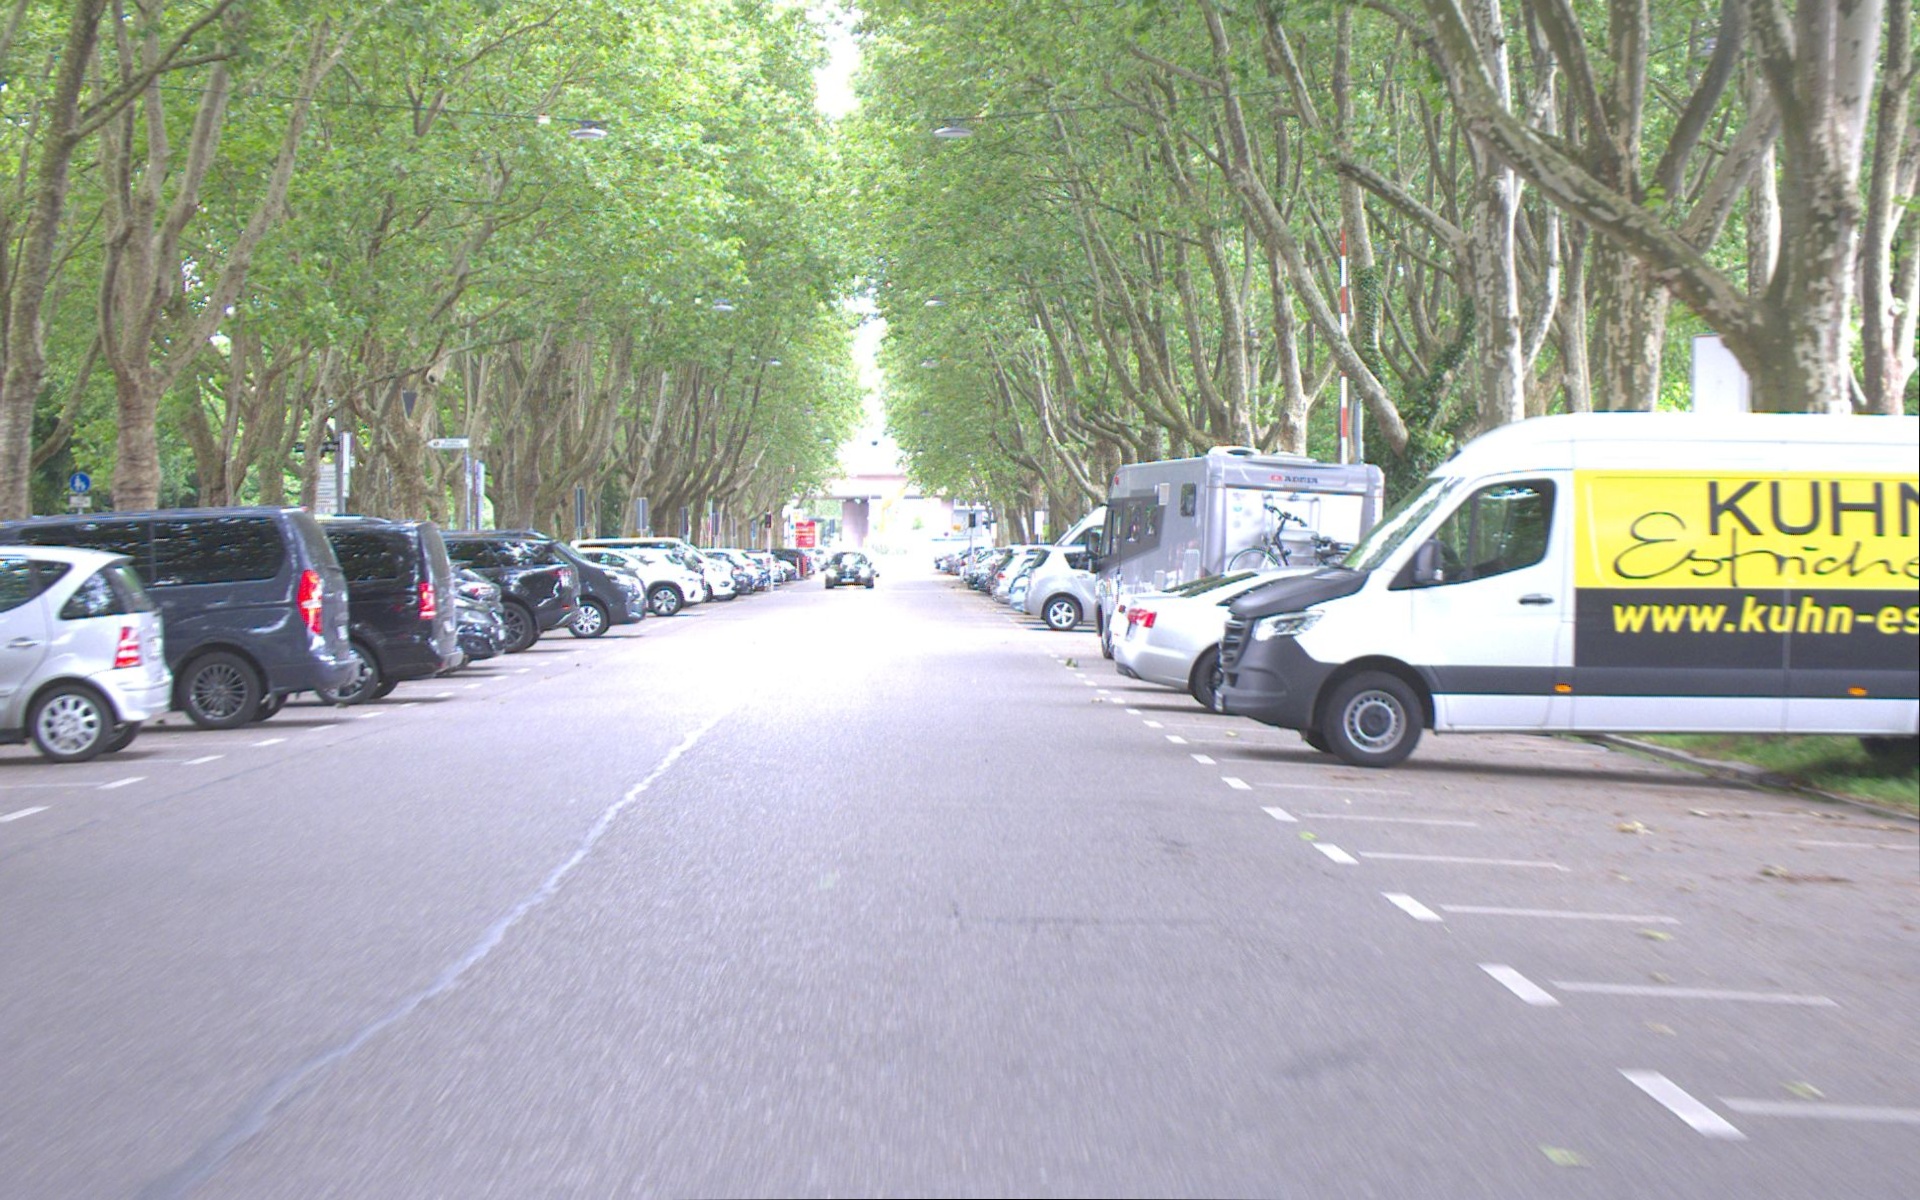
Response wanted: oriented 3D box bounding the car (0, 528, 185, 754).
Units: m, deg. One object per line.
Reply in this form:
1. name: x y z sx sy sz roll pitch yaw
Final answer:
1. car: -7.875 0.327 25.064 4.104 1.563 1.758 -2 1 -5

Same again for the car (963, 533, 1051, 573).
1. car: 2.039 -2.034 149.345 3.645 1.661 1.519 1 1 -4

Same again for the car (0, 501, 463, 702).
1. car: -7.742 -0.003 35.318 4.905 1.917 2.208 -1 1 0

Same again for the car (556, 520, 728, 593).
1. car: -9.383 -1.286 101.628 4.893 2.012 1.920 -1 1 -1

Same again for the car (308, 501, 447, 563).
1. car: -25.797 -3.020 152.341 5.786 2.588 2.000 1 1 0

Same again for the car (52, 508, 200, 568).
1. car: -36.789 -2.741 151.711 6.001 2.518 2.000 1 1 -1

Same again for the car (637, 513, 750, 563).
1. car: -9.201 -2.156 118.847 3.826 1.622 1.953 -1 1 -3

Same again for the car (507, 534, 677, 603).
1. car: -9.817 -0.844 91.978 4.340 1.662 2.000 -2 1 -2

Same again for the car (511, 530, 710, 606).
1. car: -7.957 -0.741 78.592 4.379 1.591 2.000 -2 1 -2

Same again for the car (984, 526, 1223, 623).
1. car: 2.668 -0.477 64.097 4.340 1.612 1.803 2 1 2

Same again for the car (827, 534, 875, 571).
1. car: -4.315 -1.876 135.767 1.654 1.359 4.113 -2 1 -4

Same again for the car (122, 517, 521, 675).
1. car: -7.922 -0.065 42.916 4.579 1.775 1.798 -2 2 1

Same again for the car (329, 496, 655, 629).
1. car: -8.131 -0.675 60.122 5.435 2.120 1.940 -2 2 -2

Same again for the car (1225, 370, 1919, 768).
1. car: 5.488 -0.211 25.194 6.881 2.686 2.127 1 1 1

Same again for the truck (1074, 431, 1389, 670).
1. truck: 3.516 -0.685 46.545 2.457 2.927 7.540 1 1 -9

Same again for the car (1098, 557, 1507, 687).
1. car: 3.733 0.225 37.992 4.320 1.297 1.700 1 1 0

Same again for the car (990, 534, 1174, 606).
1. car: 2.801 -0.684 79.320 4.120 1.424 1.703 3 0 1

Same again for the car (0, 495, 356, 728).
1. car: -7.795 0.095 30.091 4.761 1.917 2.018 -1 1 -5

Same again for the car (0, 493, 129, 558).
1. car: -37.121 -3.044 140.093 6.001 2.518 2.000 1 1 -1

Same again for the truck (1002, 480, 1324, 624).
1. truck: 4.047 -0.967 69.037 6.294 2.706 2.098 1 1 2

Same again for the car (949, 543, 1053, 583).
1. car: 1.686 -1.536 142.634 4.166 1.591 1.855 1 1 -4

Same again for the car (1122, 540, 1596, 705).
1. car: 3.745 0.193 32.802 4.359 1.440 1.612 1 1 3

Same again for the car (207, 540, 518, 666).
1. car: -7.896 0.026 45.333 3.896 1.489 1.754 -2 1 -14

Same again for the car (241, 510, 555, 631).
1. car: -8.569 -0.443 52.487 4.652 1.814 1.806 0 0 -9

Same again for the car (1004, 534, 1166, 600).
1. car: 3.499 -0.931 96.593 4.384 1.749 1.801 1 1 -2

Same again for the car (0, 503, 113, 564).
1. car: -35.756 -2.575 131.865 6.001 2.245 2.000 1 1 -1

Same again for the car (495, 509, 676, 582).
1. car: -9.394 -1.379 86.475 4.340 1.662 2.000 -2 1 -2
